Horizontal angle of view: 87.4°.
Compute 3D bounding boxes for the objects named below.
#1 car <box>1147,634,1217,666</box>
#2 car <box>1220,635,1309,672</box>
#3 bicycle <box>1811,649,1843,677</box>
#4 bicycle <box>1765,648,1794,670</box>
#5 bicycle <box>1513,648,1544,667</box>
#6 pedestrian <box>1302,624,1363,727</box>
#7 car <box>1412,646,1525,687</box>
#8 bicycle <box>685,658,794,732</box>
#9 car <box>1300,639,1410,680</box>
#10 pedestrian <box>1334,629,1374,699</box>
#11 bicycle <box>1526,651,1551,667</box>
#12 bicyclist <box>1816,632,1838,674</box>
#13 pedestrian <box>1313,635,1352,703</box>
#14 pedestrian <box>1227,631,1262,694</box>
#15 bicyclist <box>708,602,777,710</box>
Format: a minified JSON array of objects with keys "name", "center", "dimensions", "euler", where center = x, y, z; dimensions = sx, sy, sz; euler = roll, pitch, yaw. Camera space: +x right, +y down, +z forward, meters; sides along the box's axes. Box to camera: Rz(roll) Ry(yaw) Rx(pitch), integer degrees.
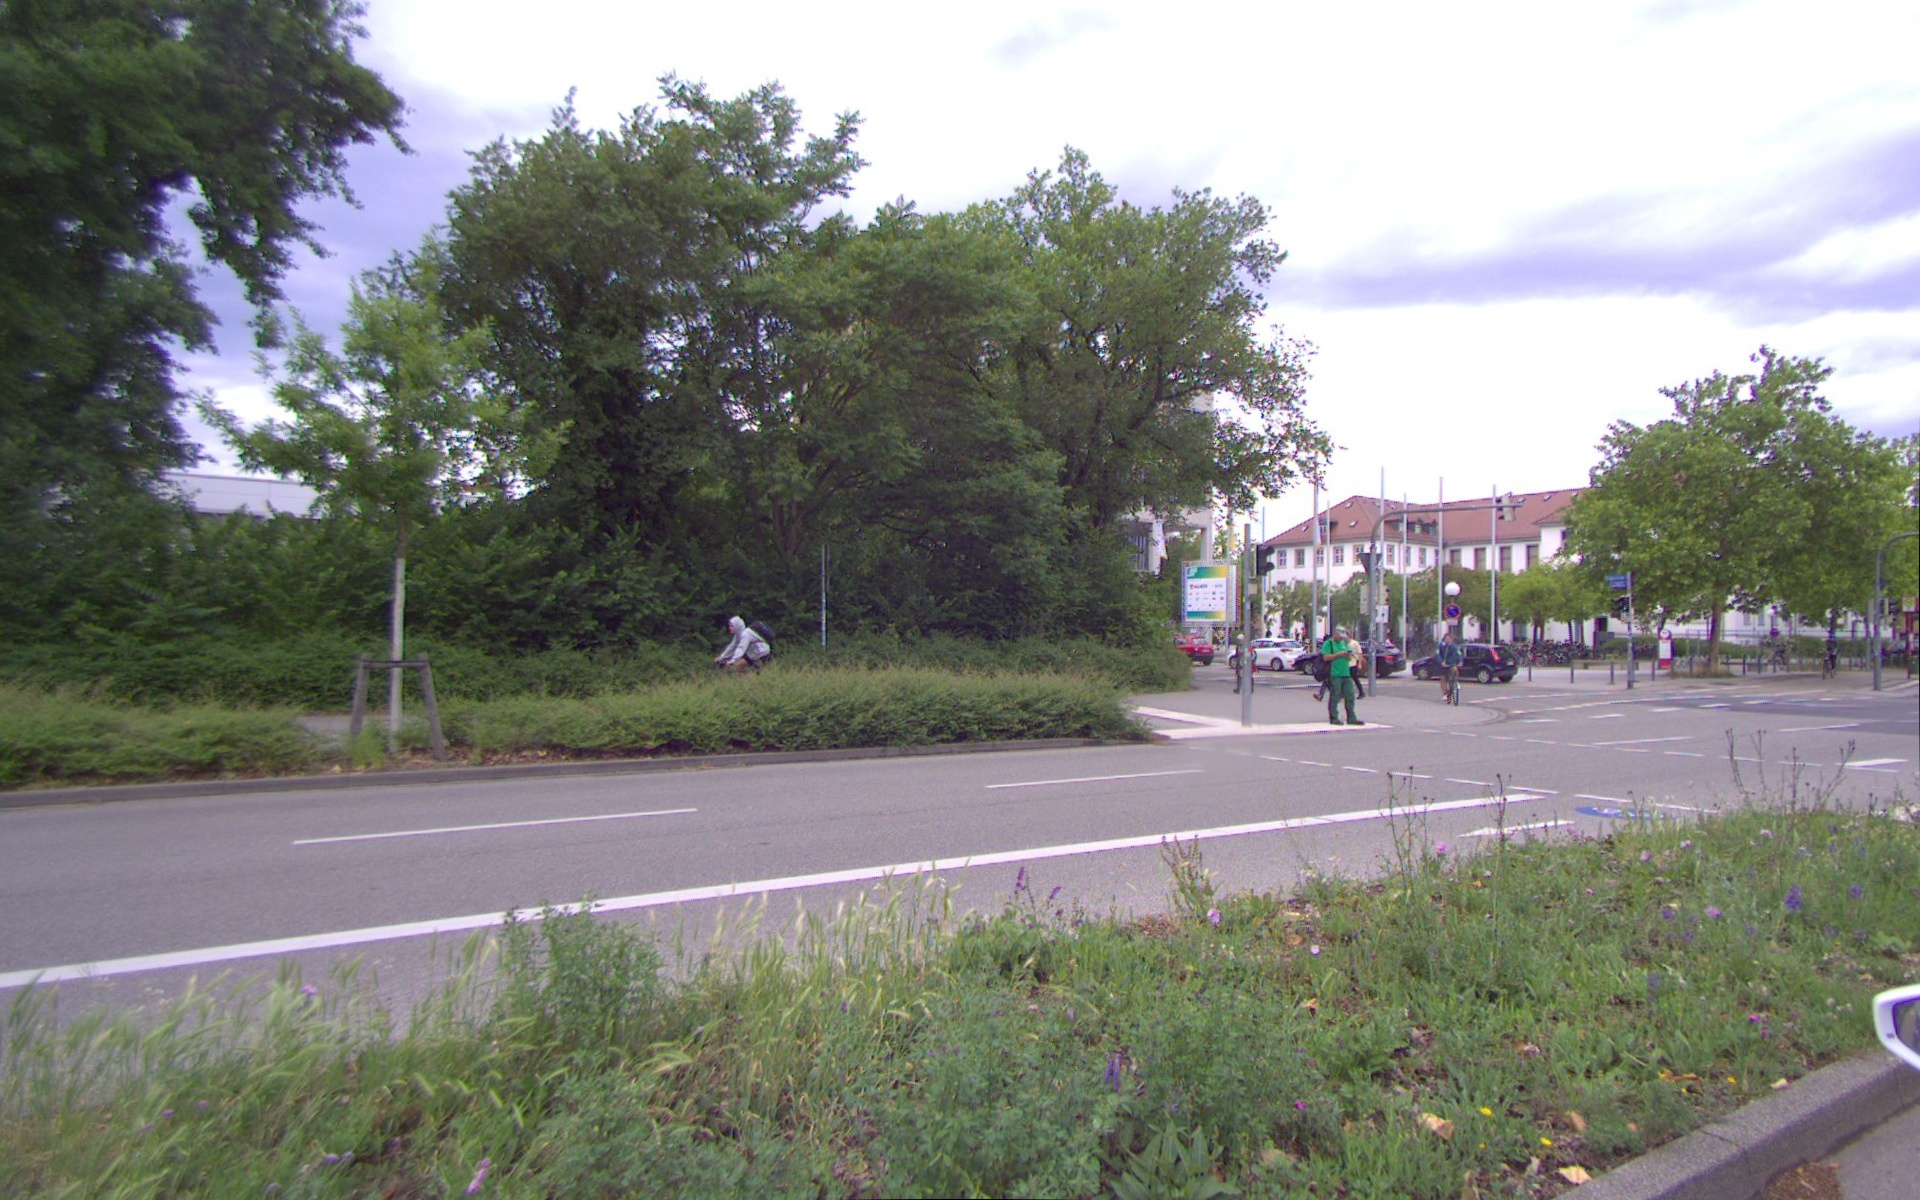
[{"name":"car","center":[11.411,2.547,51.683],"dimensions":[1.547,1.499,3.322],"euler":[1,0,-36]},{"name":"car","center":[14.380,2.496,47.581],"dimensions":[1.667,1.560,3.857],"euler":[-1,0,-32]},{"name":"bicycle","center":[34.645,2.518,40.143],"dimensions":[1.571,1.019,0.485],"euler":[0,1,-31]},{"name":"bicycle","center":[40.970,2.946,50.199],"dimensions":[2.025,1.074,0.603],"euler":[1,-3,-37]},{"name":"bicycle","center":[31.931,3.247,56.435],"dimensions":[1.385,1.066,0.586],"euler":[-3,-3,41]},{"name":"pedestrian","center":[6.799,1.356,18.373],"dimensions":[0.924,1.782,0.876],"euler":[2,-1,16]},{"name":"car","center":[19.761,2.548,39.145],"dimensions":[1.548,1.240,3.630],"euler":[-7,4,-35]},{"name":"bicycle","center":[-3.503,1.484,15.956],"dimensions":[1.597,1.076,0.664],"euler":[1,0,-24]},{"name":"car","center":[16.727,2.497,42.599],"dimensions":[4.006,1.472,1.613],"euler":[-2,3,43]},{"name":"pedestrian","center":[10.336,1.675,26.315],"dimensions":[0.827,1.761,0.830],"euler":[0,-5,30]},{"name":"bicycle","center":[32.653,3.317,56.686],"dimensions":[1.191,0.892,0.263],"euler":[-2,-3,38]},{"name":"bicyclist","center":[34.645,2.097,40.137],"dimensions":[0.581,1.647,0.488],"euler":[0,1,-30]},{"name":"pedestrian","center":[8.942,1.653,24.137],"dimensions":[0.776,1.578,0.700],"euler":[2,-4,16]},{"name":"pedestrian","center":[7.258,1.600,25.642],"dimensions":[0.563,1.545,0.846],"euler":[0,-6,36]},{"name":"bicyclist","center":[-3.461,0.871,15.968],"dimensions":[0.948,1.657,0.664],"euler":[1,0,-24]}]
